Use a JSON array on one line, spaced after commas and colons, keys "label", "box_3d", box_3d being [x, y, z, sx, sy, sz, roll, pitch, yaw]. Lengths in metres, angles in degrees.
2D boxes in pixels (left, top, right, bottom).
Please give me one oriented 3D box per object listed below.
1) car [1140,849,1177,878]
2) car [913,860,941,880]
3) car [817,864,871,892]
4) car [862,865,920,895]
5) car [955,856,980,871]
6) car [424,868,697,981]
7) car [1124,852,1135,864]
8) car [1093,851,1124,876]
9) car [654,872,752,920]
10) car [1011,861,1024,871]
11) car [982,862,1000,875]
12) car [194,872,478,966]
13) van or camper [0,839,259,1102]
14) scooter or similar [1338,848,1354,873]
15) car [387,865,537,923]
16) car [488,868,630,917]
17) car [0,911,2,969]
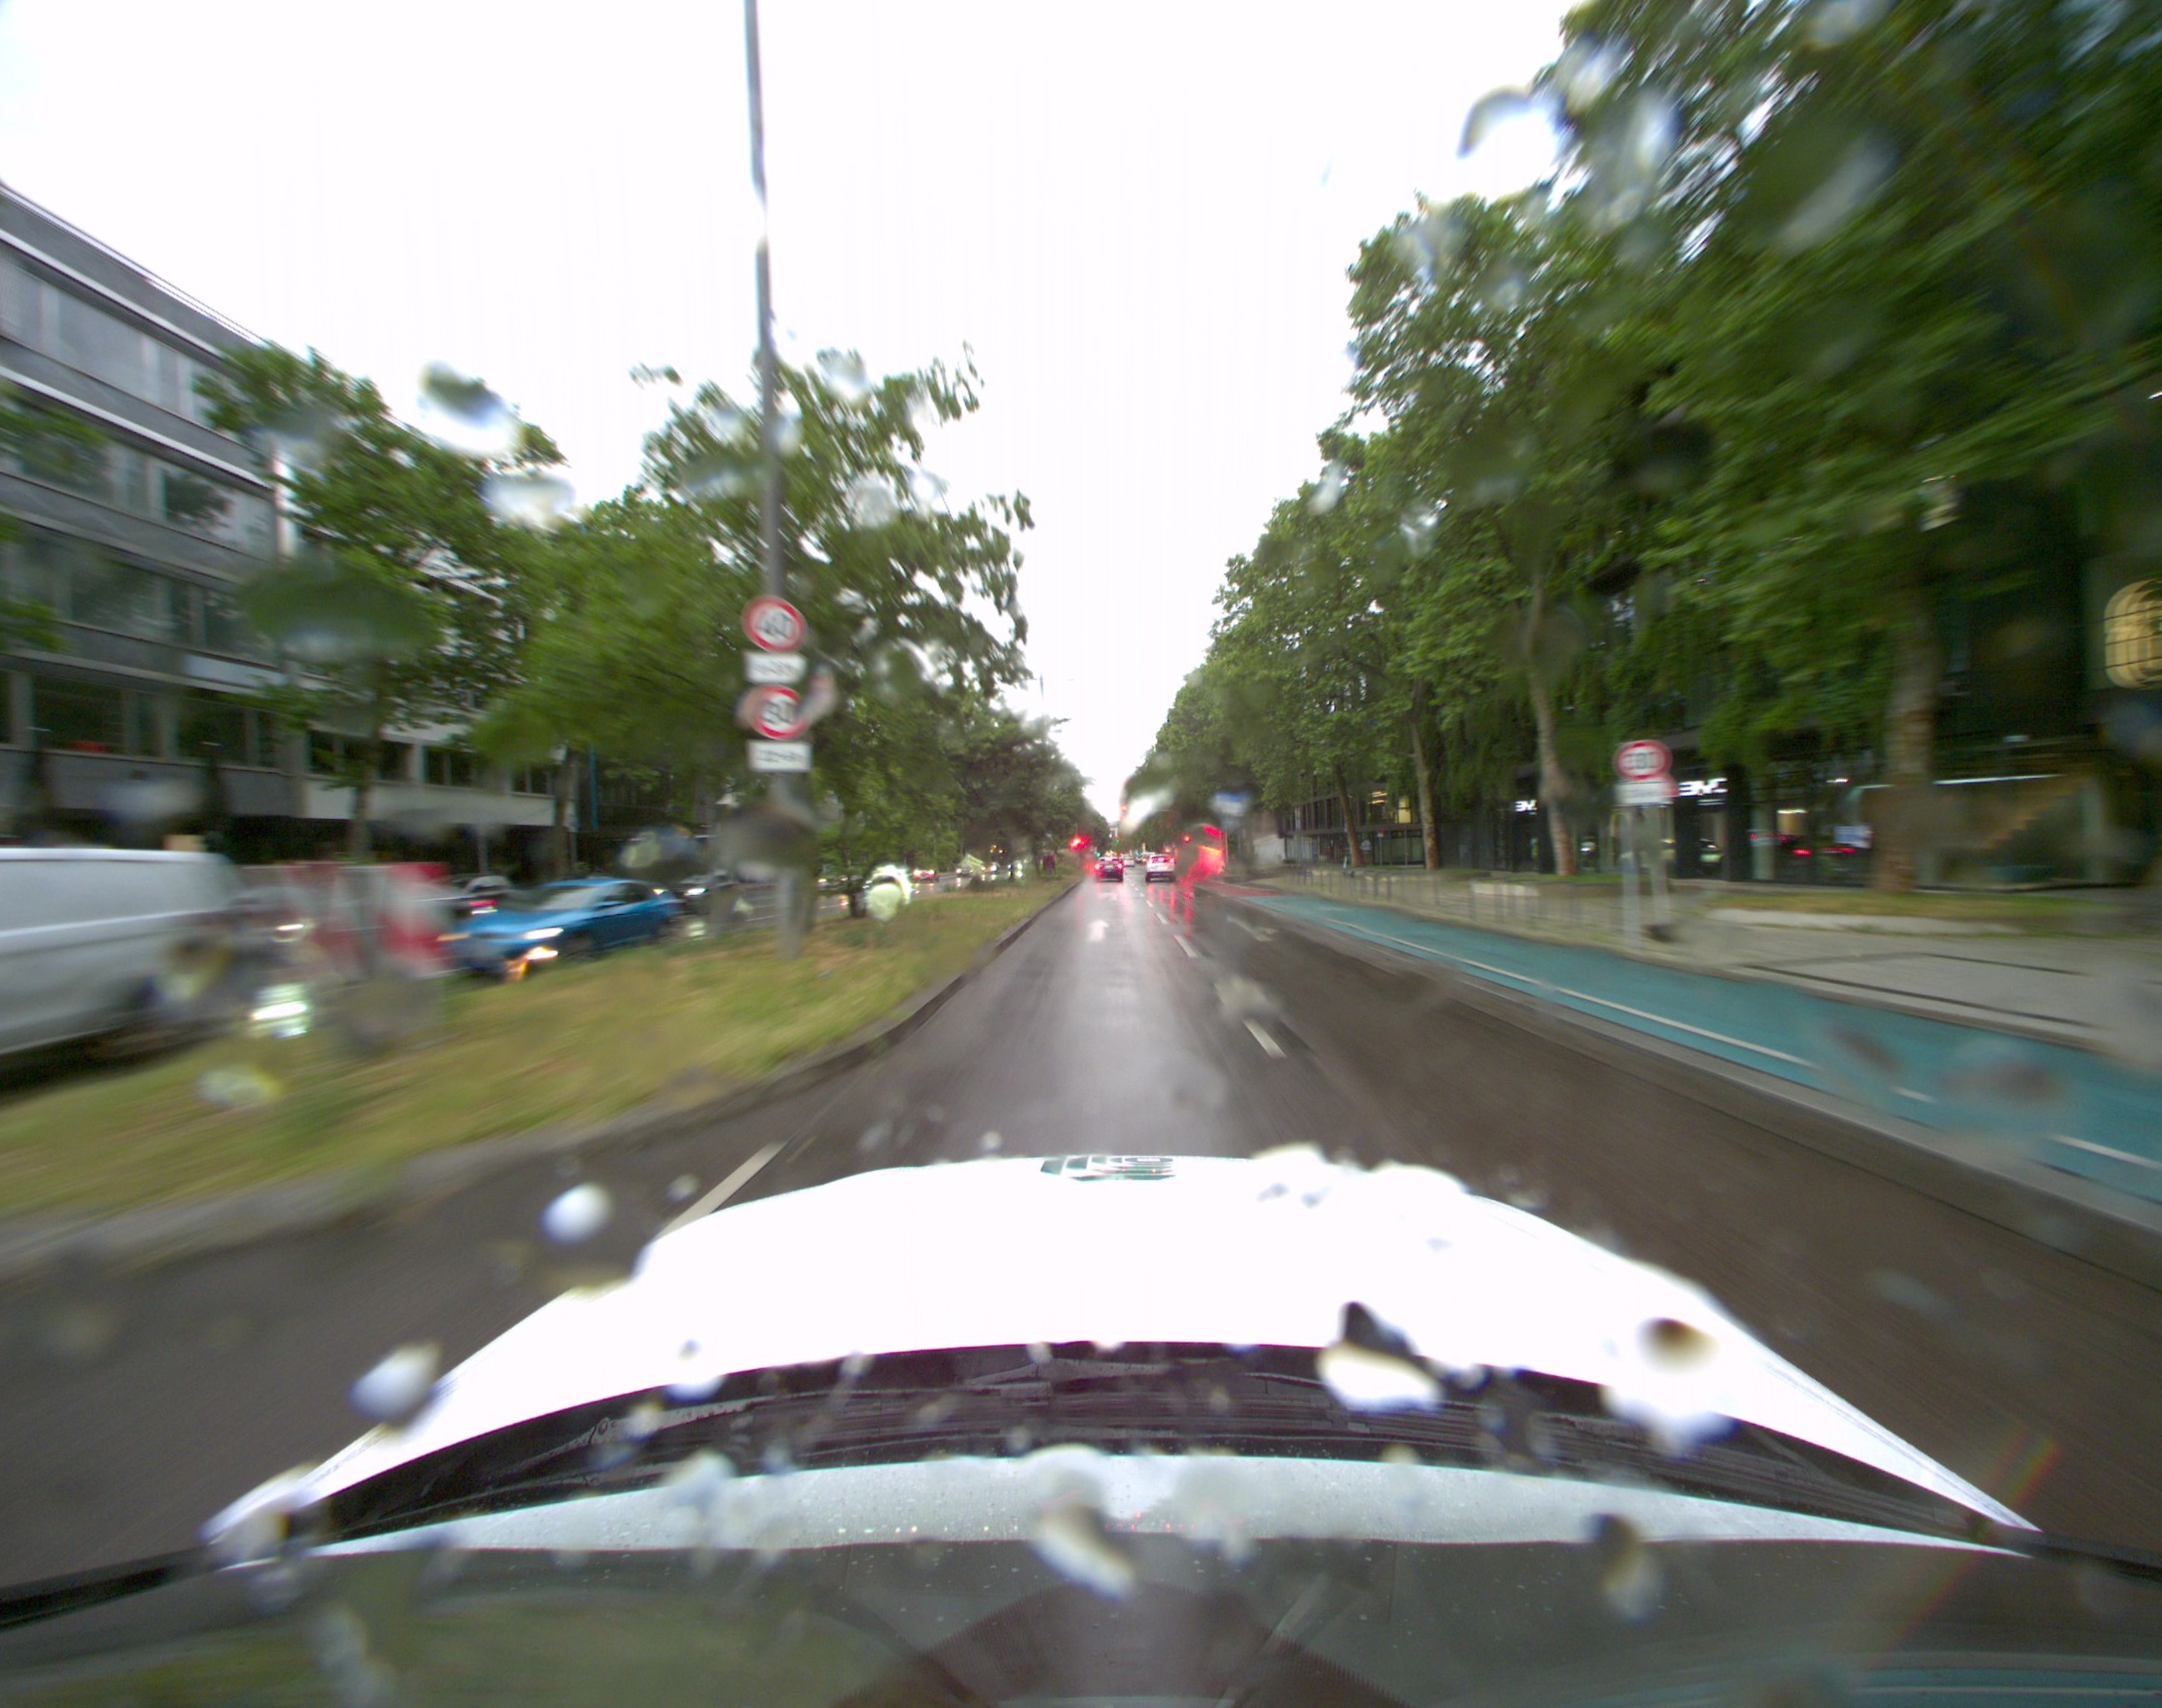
[{"label": "car", "box_3d": [4.847, 0.544, 51.343, 1.986, 1.655, 4.890, -2, 1, 2]}, {"label": "car", "box_3d": [-12.146, 1.223, 64.472, 1.488, 1.463, 2.734, -2, 0, 3]}, {"label": "car", "box_3d": [-13.221, 1.315, 45.704, 1.836, 1.429, 3.644, -2, 0, 1]}, {"label": "car", "box_3d": [-9.877, 1.306, 42.585, 1.740, 1.476, 4.101, -1, -1, 5]}, {"label": "car", "box_3d": [-11.326, 0.957, 81.395, 1.836, 1.389, 4.001, -2, 0, 2]}, {"label": "car", "box_3d": [-8.751, 1.082, 14.270, 1.836, 1.482, 4.398, -1, 1, 2]}, {"label": "car", "box_3d": [7.493, 0.576, 125.828, 1.614, 1.666, 4.002, -3, 0, 2]}, {"label": "car", "box_3d": [1.788, 0.601, 52.996, 1.911, 1.491, 4.001, -2, 0, 2]}, {"label": "car", "box_3d": [-12.698, 1.387, 27.535, 1.712, 1.367, 3.051, -1, 1, 3]}, {"label": "car", "box_3d": [-9.261, 1.806, 118.842, 1.608, 1.394, 3.598, -1, -1, 2]}, {"label": "car", "box_3d": [-10.651, 1.707, 96.618, 1.608, 1.394, 4.186, -2, 1, 2]}, {"label": "car", "box_3d": [-14.447, 1.177, 16.177, 1.743, 1.476, 4.098, -2, 0, 2]}, {"label": "van or camper", "box_3d": [-8.804, 0.882, 5.317, 1.992, 1.913, 5.237, -2, 1, -8]}, {"label": "scooter or similar", "box_3d": [13.429, 0.320, 41.249, 0.377, 1.228, 1.086, -2, 0, 38]}, {"label": "car", "box_3d": [-18.140, 1.113, 24.072, 1.687, 1.468, 3.461, -2, 1, 1]}, {"label": "car", "box_3d": [-18.146, 1.284, 28.629, 1.687, 1.409, 4.906, -2, 1, 2]}, {"label": "car", "box_3d": [-18.973, 1.203, 11.576, 1.830, 1.508, 4.002, -2, 1, 2]}]
